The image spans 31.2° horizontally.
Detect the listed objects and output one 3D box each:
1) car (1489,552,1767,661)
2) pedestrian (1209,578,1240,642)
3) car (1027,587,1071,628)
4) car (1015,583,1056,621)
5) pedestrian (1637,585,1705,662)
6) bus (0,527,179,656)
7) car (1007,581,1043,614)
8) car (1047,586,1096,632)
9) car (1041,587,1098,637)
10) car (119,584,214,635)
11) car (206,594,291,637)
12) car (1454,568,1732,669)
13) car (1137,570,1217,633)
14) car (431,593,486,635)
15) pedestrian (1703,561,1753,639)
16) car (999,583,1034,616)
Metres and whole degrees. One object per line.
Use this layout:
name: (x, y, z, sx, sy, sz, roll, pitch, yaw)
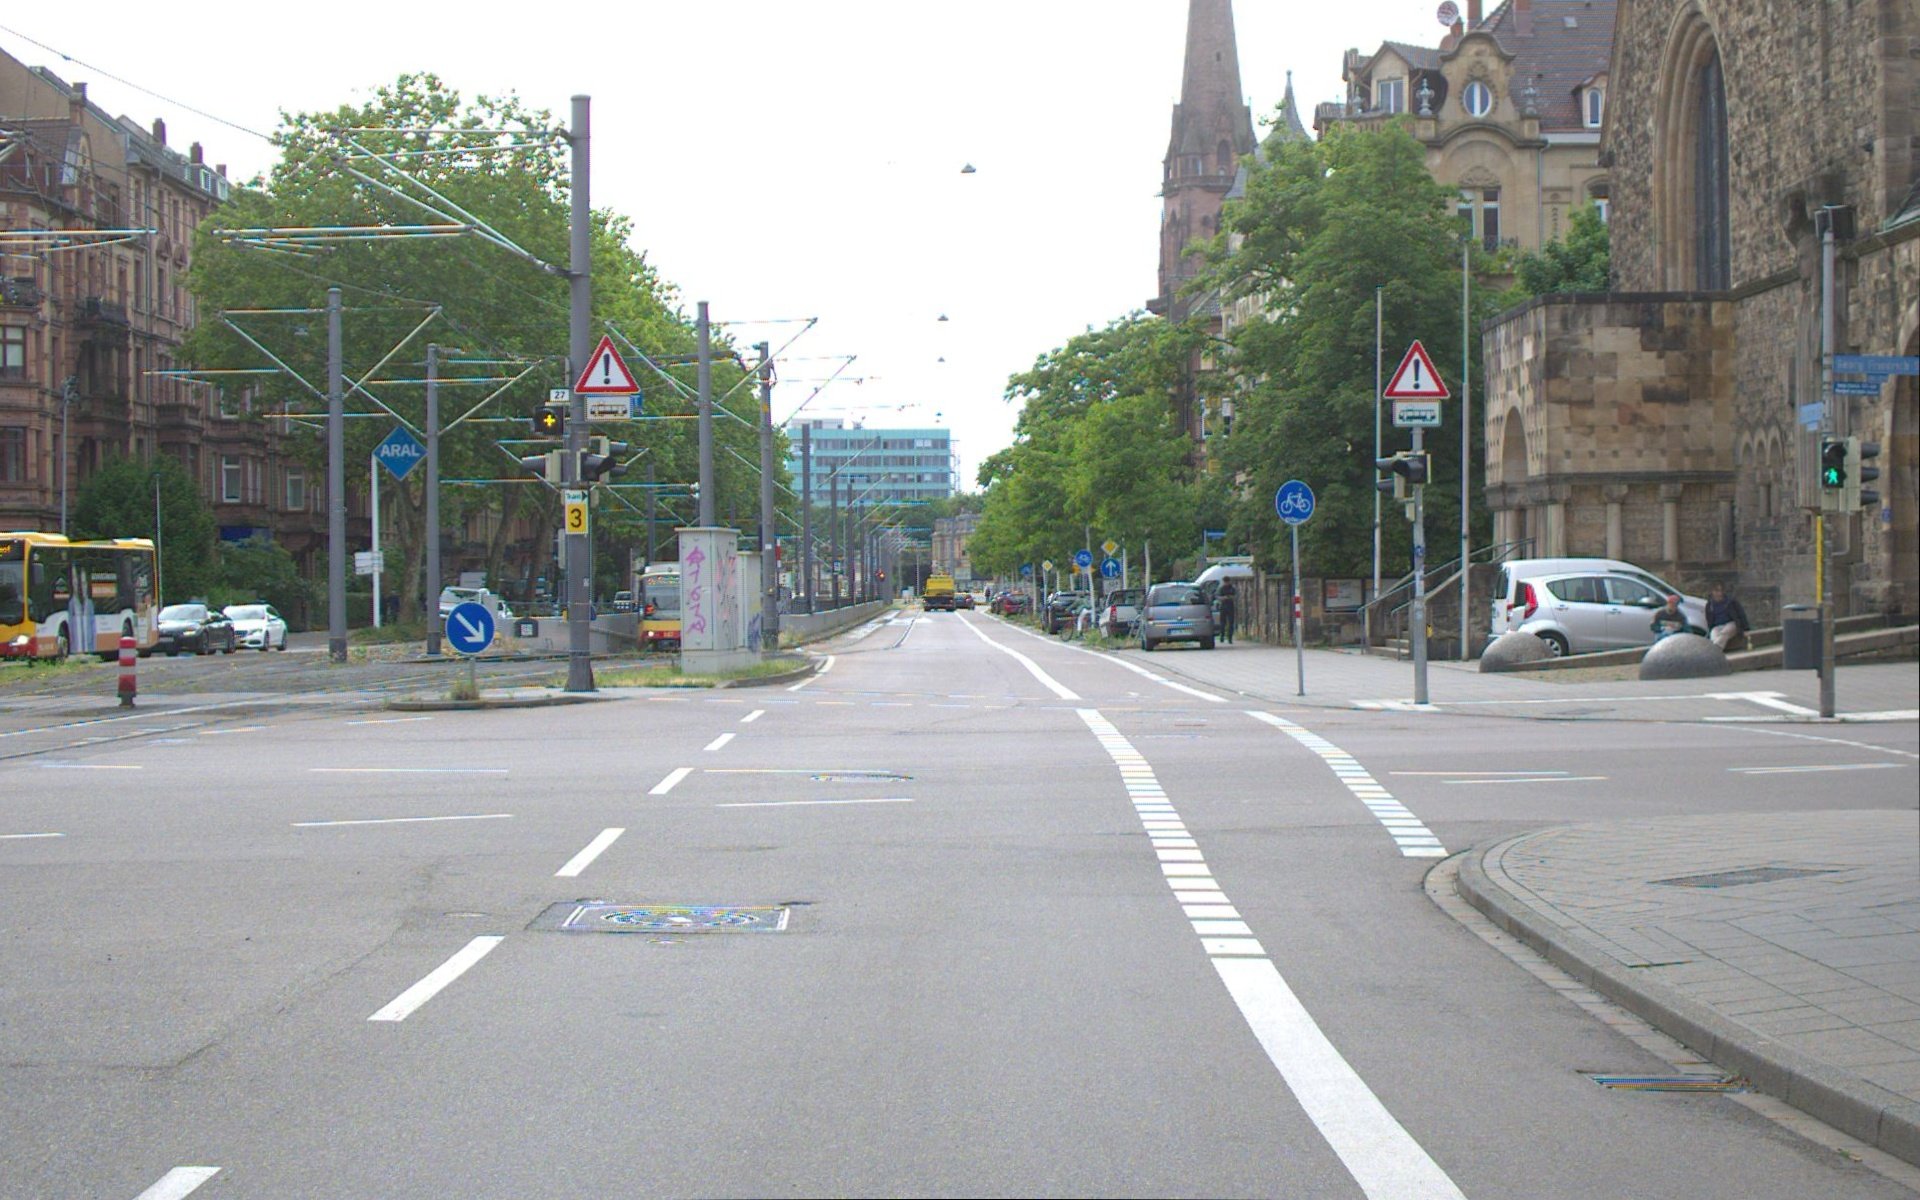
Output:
car: (11.881, 0.104, 61.346, 4.610, 1.875, 1.663, 1, 0, 0)
pedestrian: (6.851, 0.266, 89.070, 0.776, 1.641, 0.798, 1, 0, 6)
car: (4.265, 0.353, 165.442, 1.993, 1.875, 4.000, -1, 1, 0)
car: (4.019, 0.089, 183.903, 1.993, 2.007, 4.000, 1, 1, -1)
pedestrian: (11.176, 0.363, 54.064, 0.736, 1.187, 1.493, 1, 1, 0)
bus: (-21.798, -0.256, 82.411, 3.281, 2.846, 12.380, 1, 1, 0)
car: (3.843, -0.165, 203.738, 1.993, 1.919, 4.000, 1, 1, -1)
car: (5.034, 0.401, 155.652, 1.993, 2.007, 4.000, 1, 1, -1)
car: (4.098, 0.442, 129.210, 1.993, 1.814, 4.000, -1, 1, 0)
car: (-21.998, 0.246, 95.384, 1.702, 1.354, 3.890, 1, 1, 0)
car: (-21.275, 0.454, 102.907, 1.702, 1.217, 3.890, 1, 1, 0)
car: (10.622, 0.297, 57.835, 4.348, 1.630, 1.663, 1, 0, 0)
car: (5.227, 0.013, 83.148, 1.702, 1.454, 3.890, 1, 1, 0)
car: (-20.789, 0.569, 142.580, 1.702, 1.706, 3.890, 1, 1, 0)
pedestrian: (12.163, -0.005, 54.428, 0.737, 1.224, 1.062, 1, 0, 15)
car: (3.461, -0.040, 211.312, 1.993, 2.007, 4.000, 1, 1, -1)
